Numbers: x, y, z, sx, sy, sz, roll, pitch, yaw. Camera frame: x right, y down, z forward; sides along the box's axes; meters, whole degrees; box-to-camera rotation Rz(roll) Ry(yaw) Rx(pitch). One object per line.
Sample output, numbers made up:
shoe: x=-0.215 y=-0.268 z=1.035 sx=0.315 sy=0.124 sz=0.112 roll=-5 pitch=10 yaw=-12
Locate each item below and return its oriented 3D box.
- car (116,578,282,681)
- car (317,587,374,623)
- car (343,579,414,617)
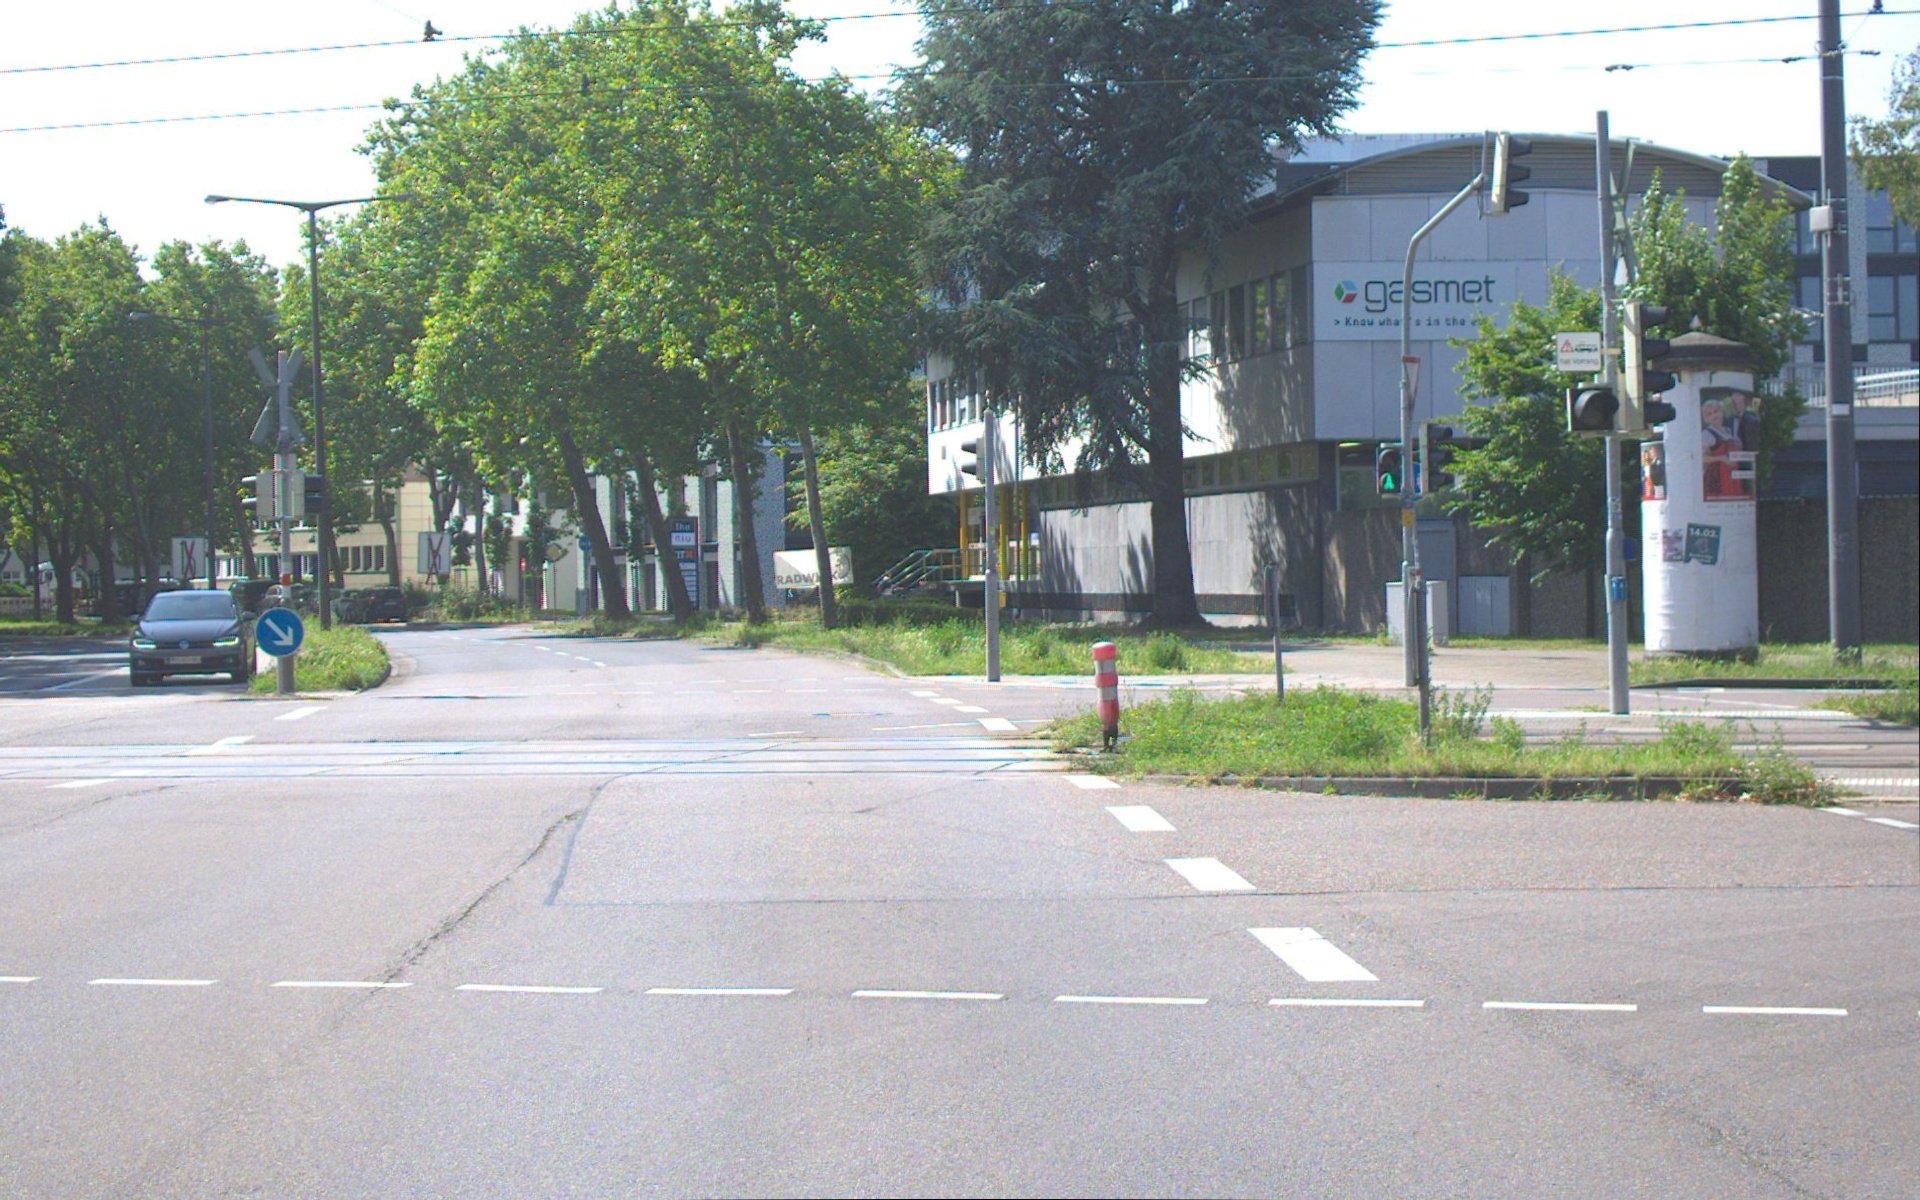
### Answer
car: x=-11.818 y=0.425 z=53.642 sx=1.694 sy=1.503 sz=4.130 roll=-1 pitch=1 yaw=-1
car: x=-26.587 y=0.196 z=148.674 sx=1.706 sy=1.482 sz=4.102 roll=-2 pitch=1 yaw=-21
car: x=-24.294 y=-0.078 z=143.558 sx=1.706 sy=1.482 sz=4.720 roll=-3 pitch=1 yaw=-25
